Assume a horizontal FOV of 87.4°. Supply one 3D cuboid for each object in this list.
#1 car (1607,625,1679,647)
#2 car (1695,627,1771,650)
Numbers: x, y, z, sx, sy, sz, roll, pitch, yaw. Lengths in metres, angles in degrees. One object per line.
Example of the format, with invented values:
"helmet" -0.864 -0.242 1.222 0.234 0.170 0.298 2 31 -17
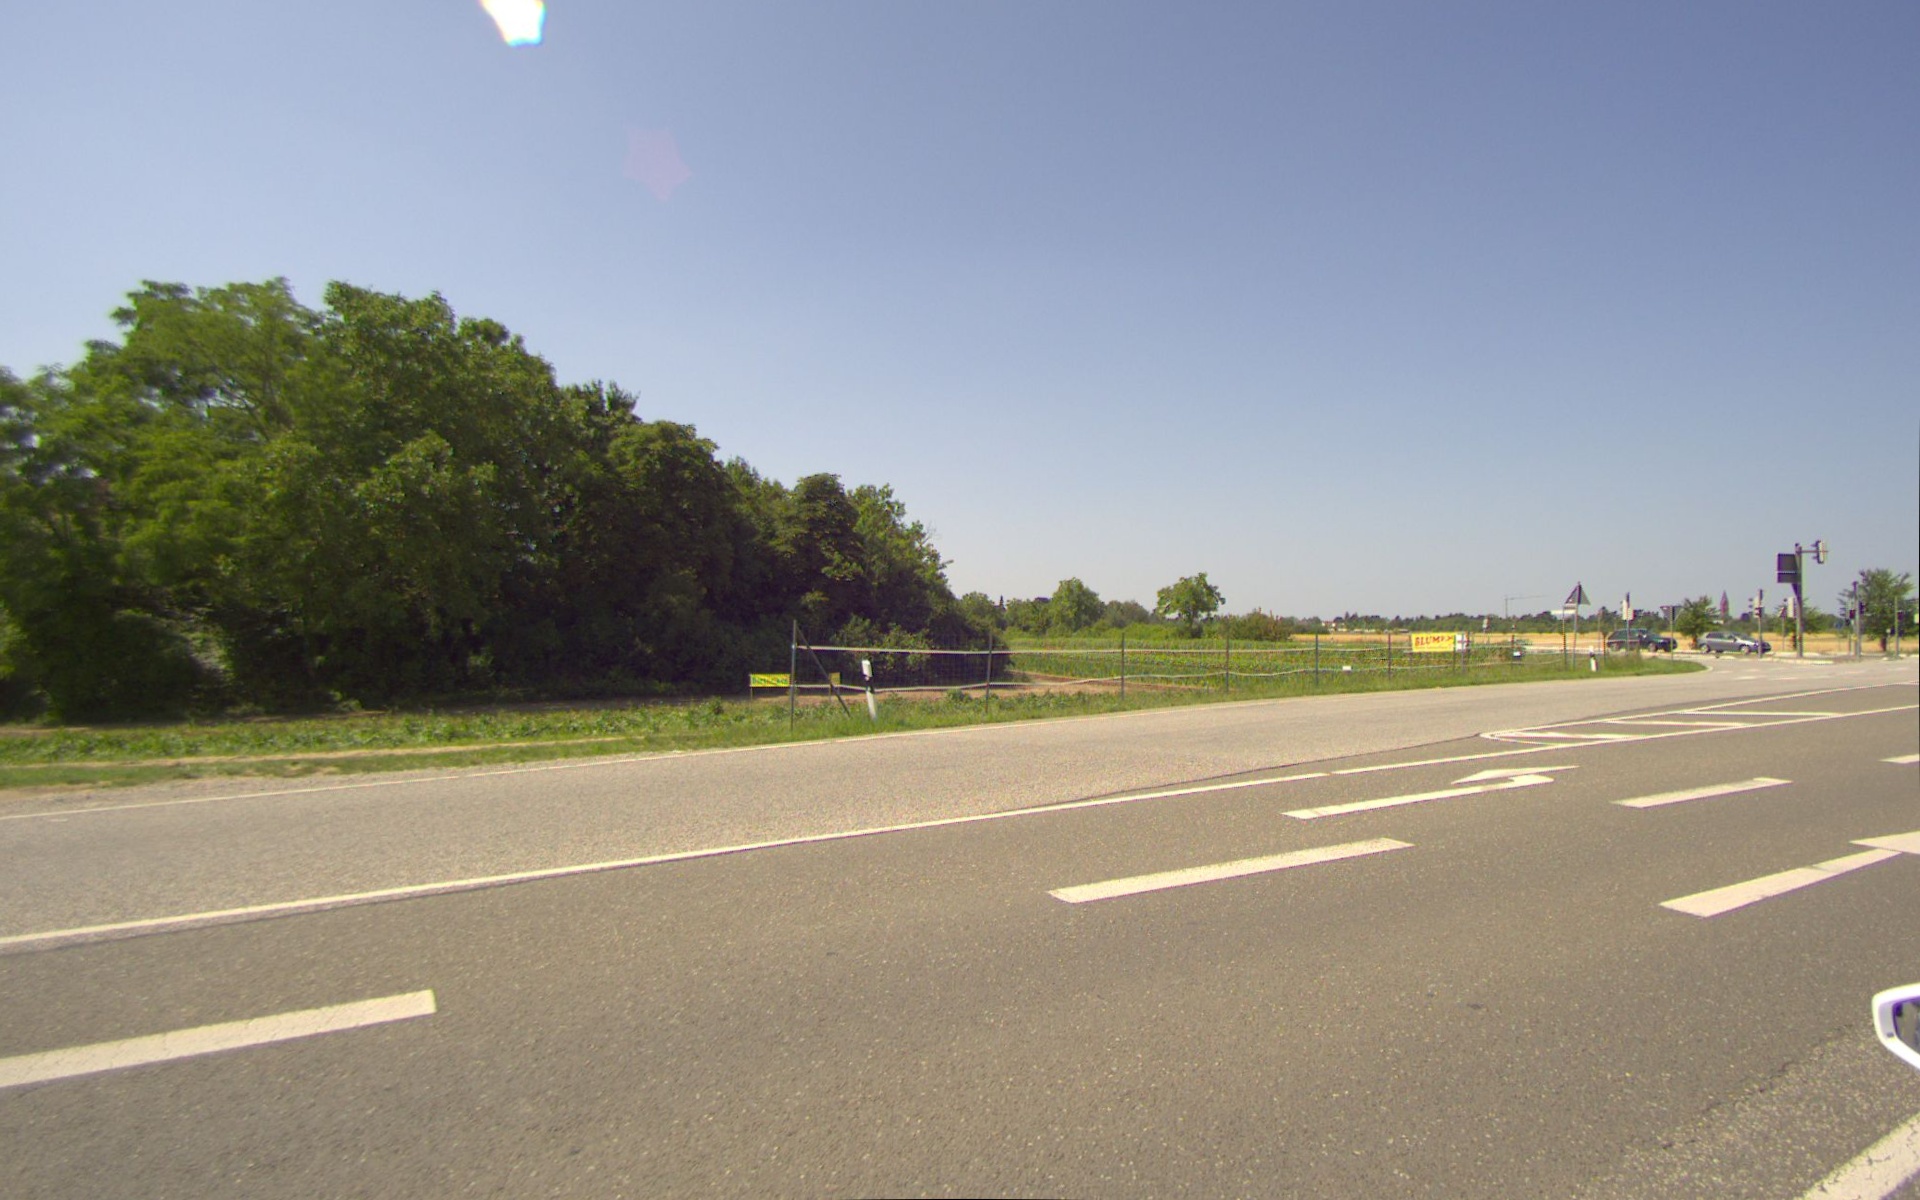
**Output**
"car" 50.216 2.650 73.984 1.608 1.615 4.355 0 -2 -17
"car" 52.216 2.583 67.908 1.610 1.405 3.864 0 -1 -19
